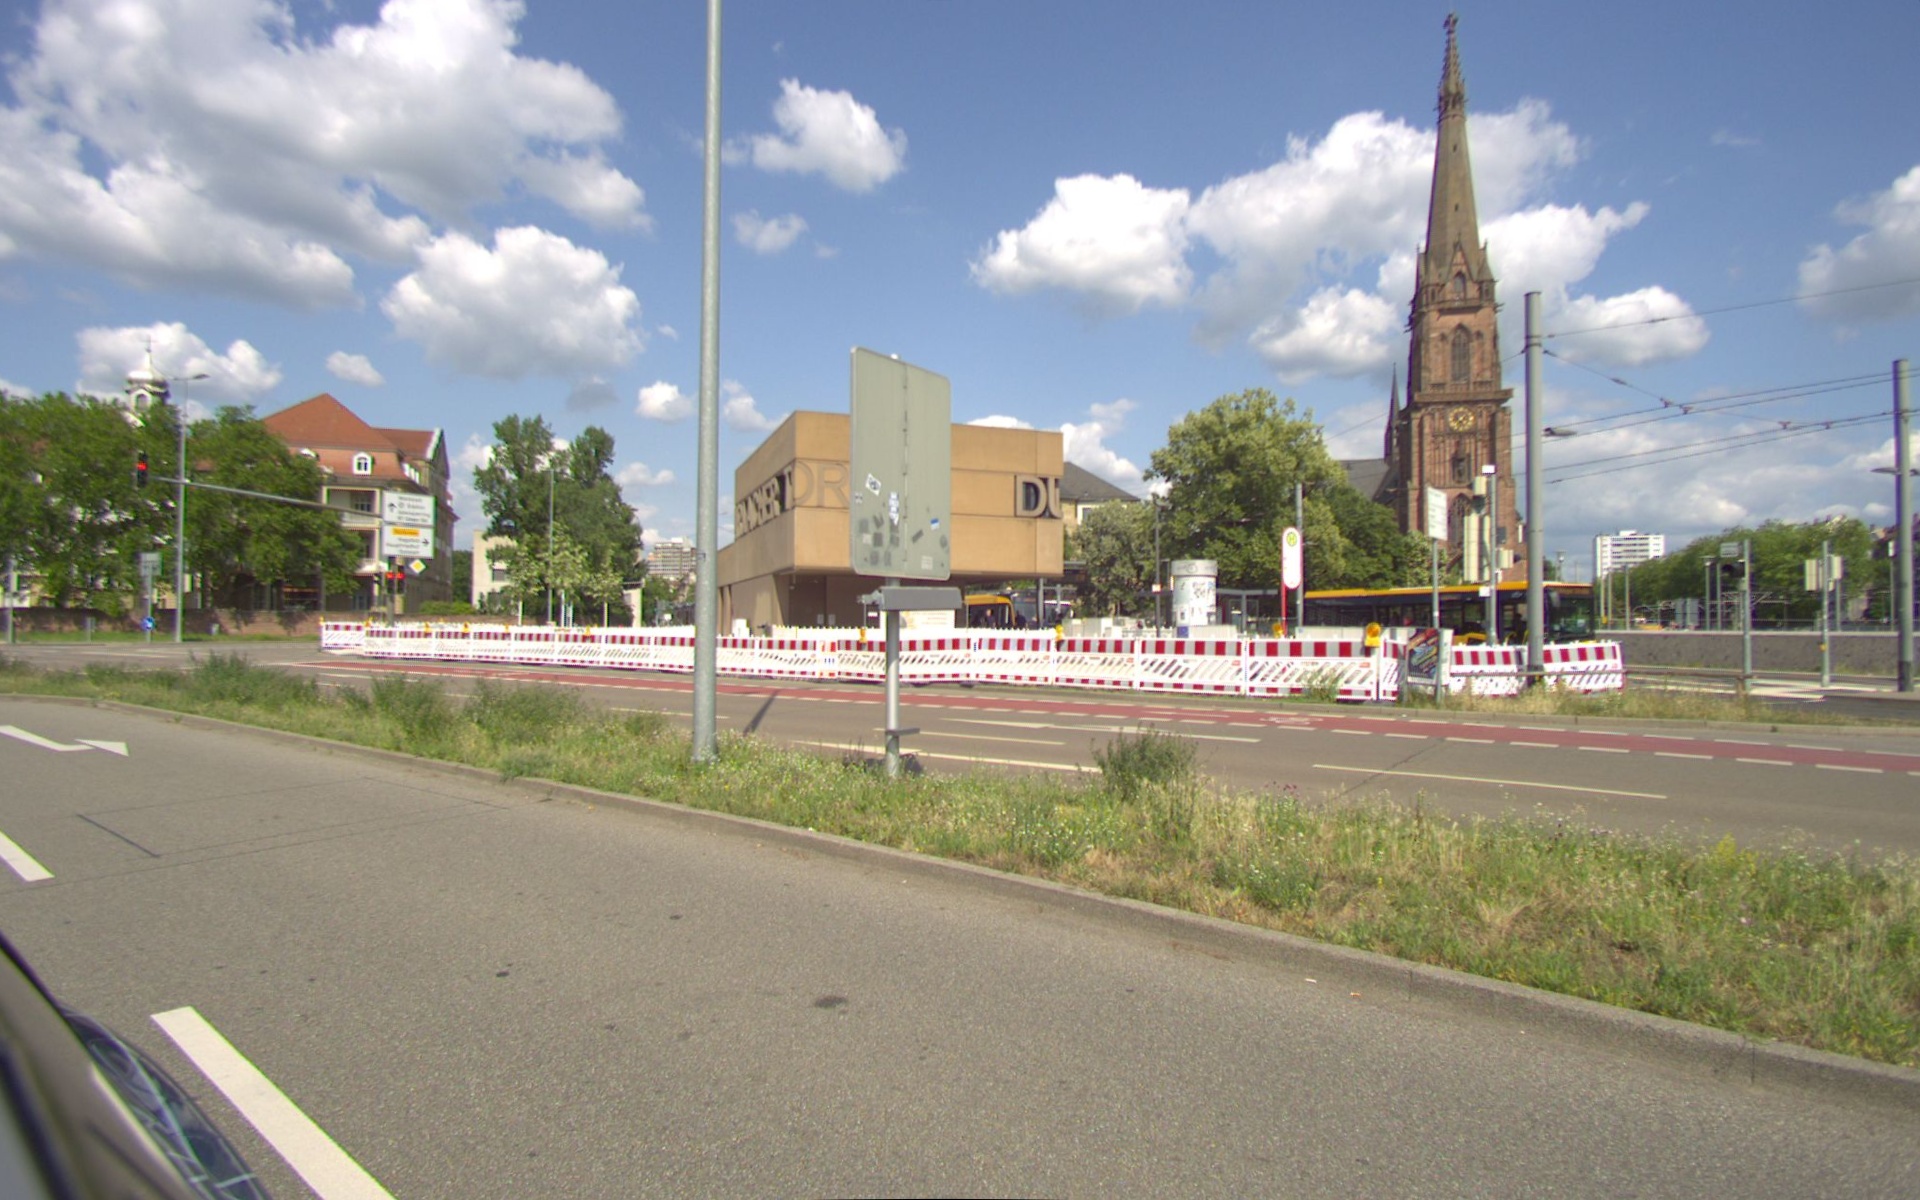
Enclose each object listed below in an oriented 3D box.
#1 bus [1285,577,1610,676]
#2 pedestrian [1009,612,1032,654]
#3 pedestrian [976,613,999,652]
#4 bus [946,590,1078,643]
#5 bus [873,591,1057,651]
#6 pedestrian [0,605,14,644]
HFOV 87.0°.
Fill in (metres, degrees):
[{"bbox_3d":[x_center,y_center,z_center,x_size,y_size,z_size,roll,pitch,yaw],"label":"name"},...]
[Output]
[{"bbox_3d":[17.864,1.025,38.937,2.785,3.160,12.881,1,-2,-21],"label":"bus"},{"bbox_3d":[2.395,1.316,39.932,0.720,1.642,0.561,1,-1,-25],"label":"pedestrian"},{"bbox_3d":[1.178,1.396,43.283,0.762,1.644,0.647,0,-1,28],"label":"pedestrian"},{"bbox_3d":[3.478,1.363,78.422,3.547,3.659,18.929,1,-2,-18],"label":"bus"},{"bbox_3d":[-0.631,1.399,65.822,3.416,3.208,23.855,1,-2,-21],"label":"bus"},{"bbox_3d":[-50.482,1.294,53.404,0.616,2.009,0.580,-1,0,11],"label":"pedestrian"}]
